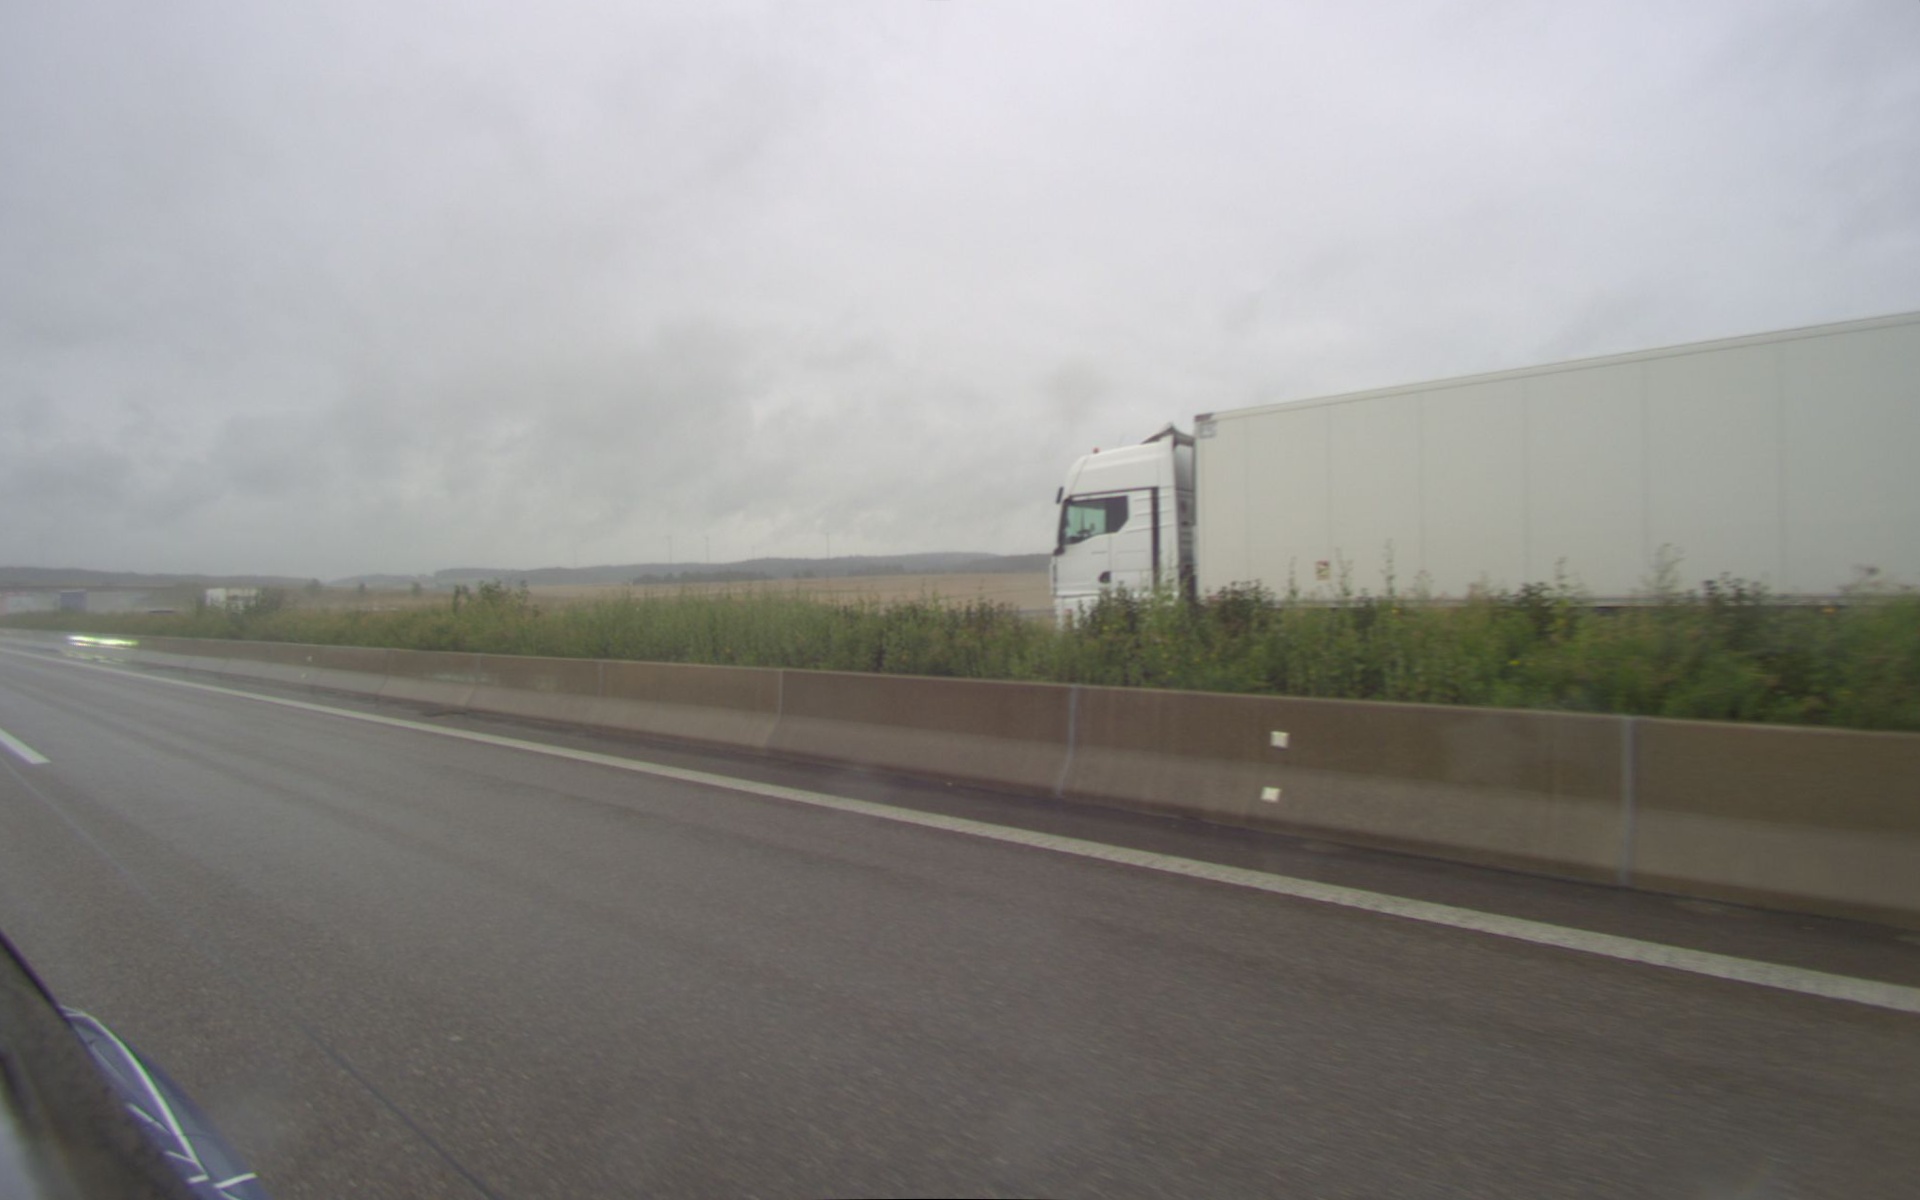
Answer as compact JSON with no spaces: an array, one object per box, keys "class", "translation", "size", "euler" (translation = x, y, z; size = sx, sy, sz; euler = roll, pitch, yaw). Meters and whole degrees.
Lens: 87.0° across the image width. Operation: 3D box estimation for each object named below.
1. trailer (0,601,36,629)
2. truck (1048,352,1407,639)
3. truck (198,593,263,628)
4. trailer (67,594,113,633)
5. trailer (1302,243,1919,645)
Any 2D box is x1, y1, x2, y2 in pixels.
[{"class":"trailer","translation":[-123.809,1.946,132.581],"size":[9.441,3.482,3.222],"euler":[-1,-1,42]},{"class":"truck","translation":[4.202,-1.388,16.288],"size":[4.817,3.876,2.730],"euler":[-1,0,42]},{"class":"truck","translation":[-63.748,0.925,88.383],"size":[8.277,2.930,2.790],"euler":[-1,0,41]},{"class":"trailer","translation":[-93.080,1.496,108.171],"size":[13.493,3.969,2.409],"euler":[-1,0,44]},{"class":"trailer","translation":[10.257,-1.525,10.787],"size":[12.402,3.881,2.788],"euler":[-1,0,42]}]
